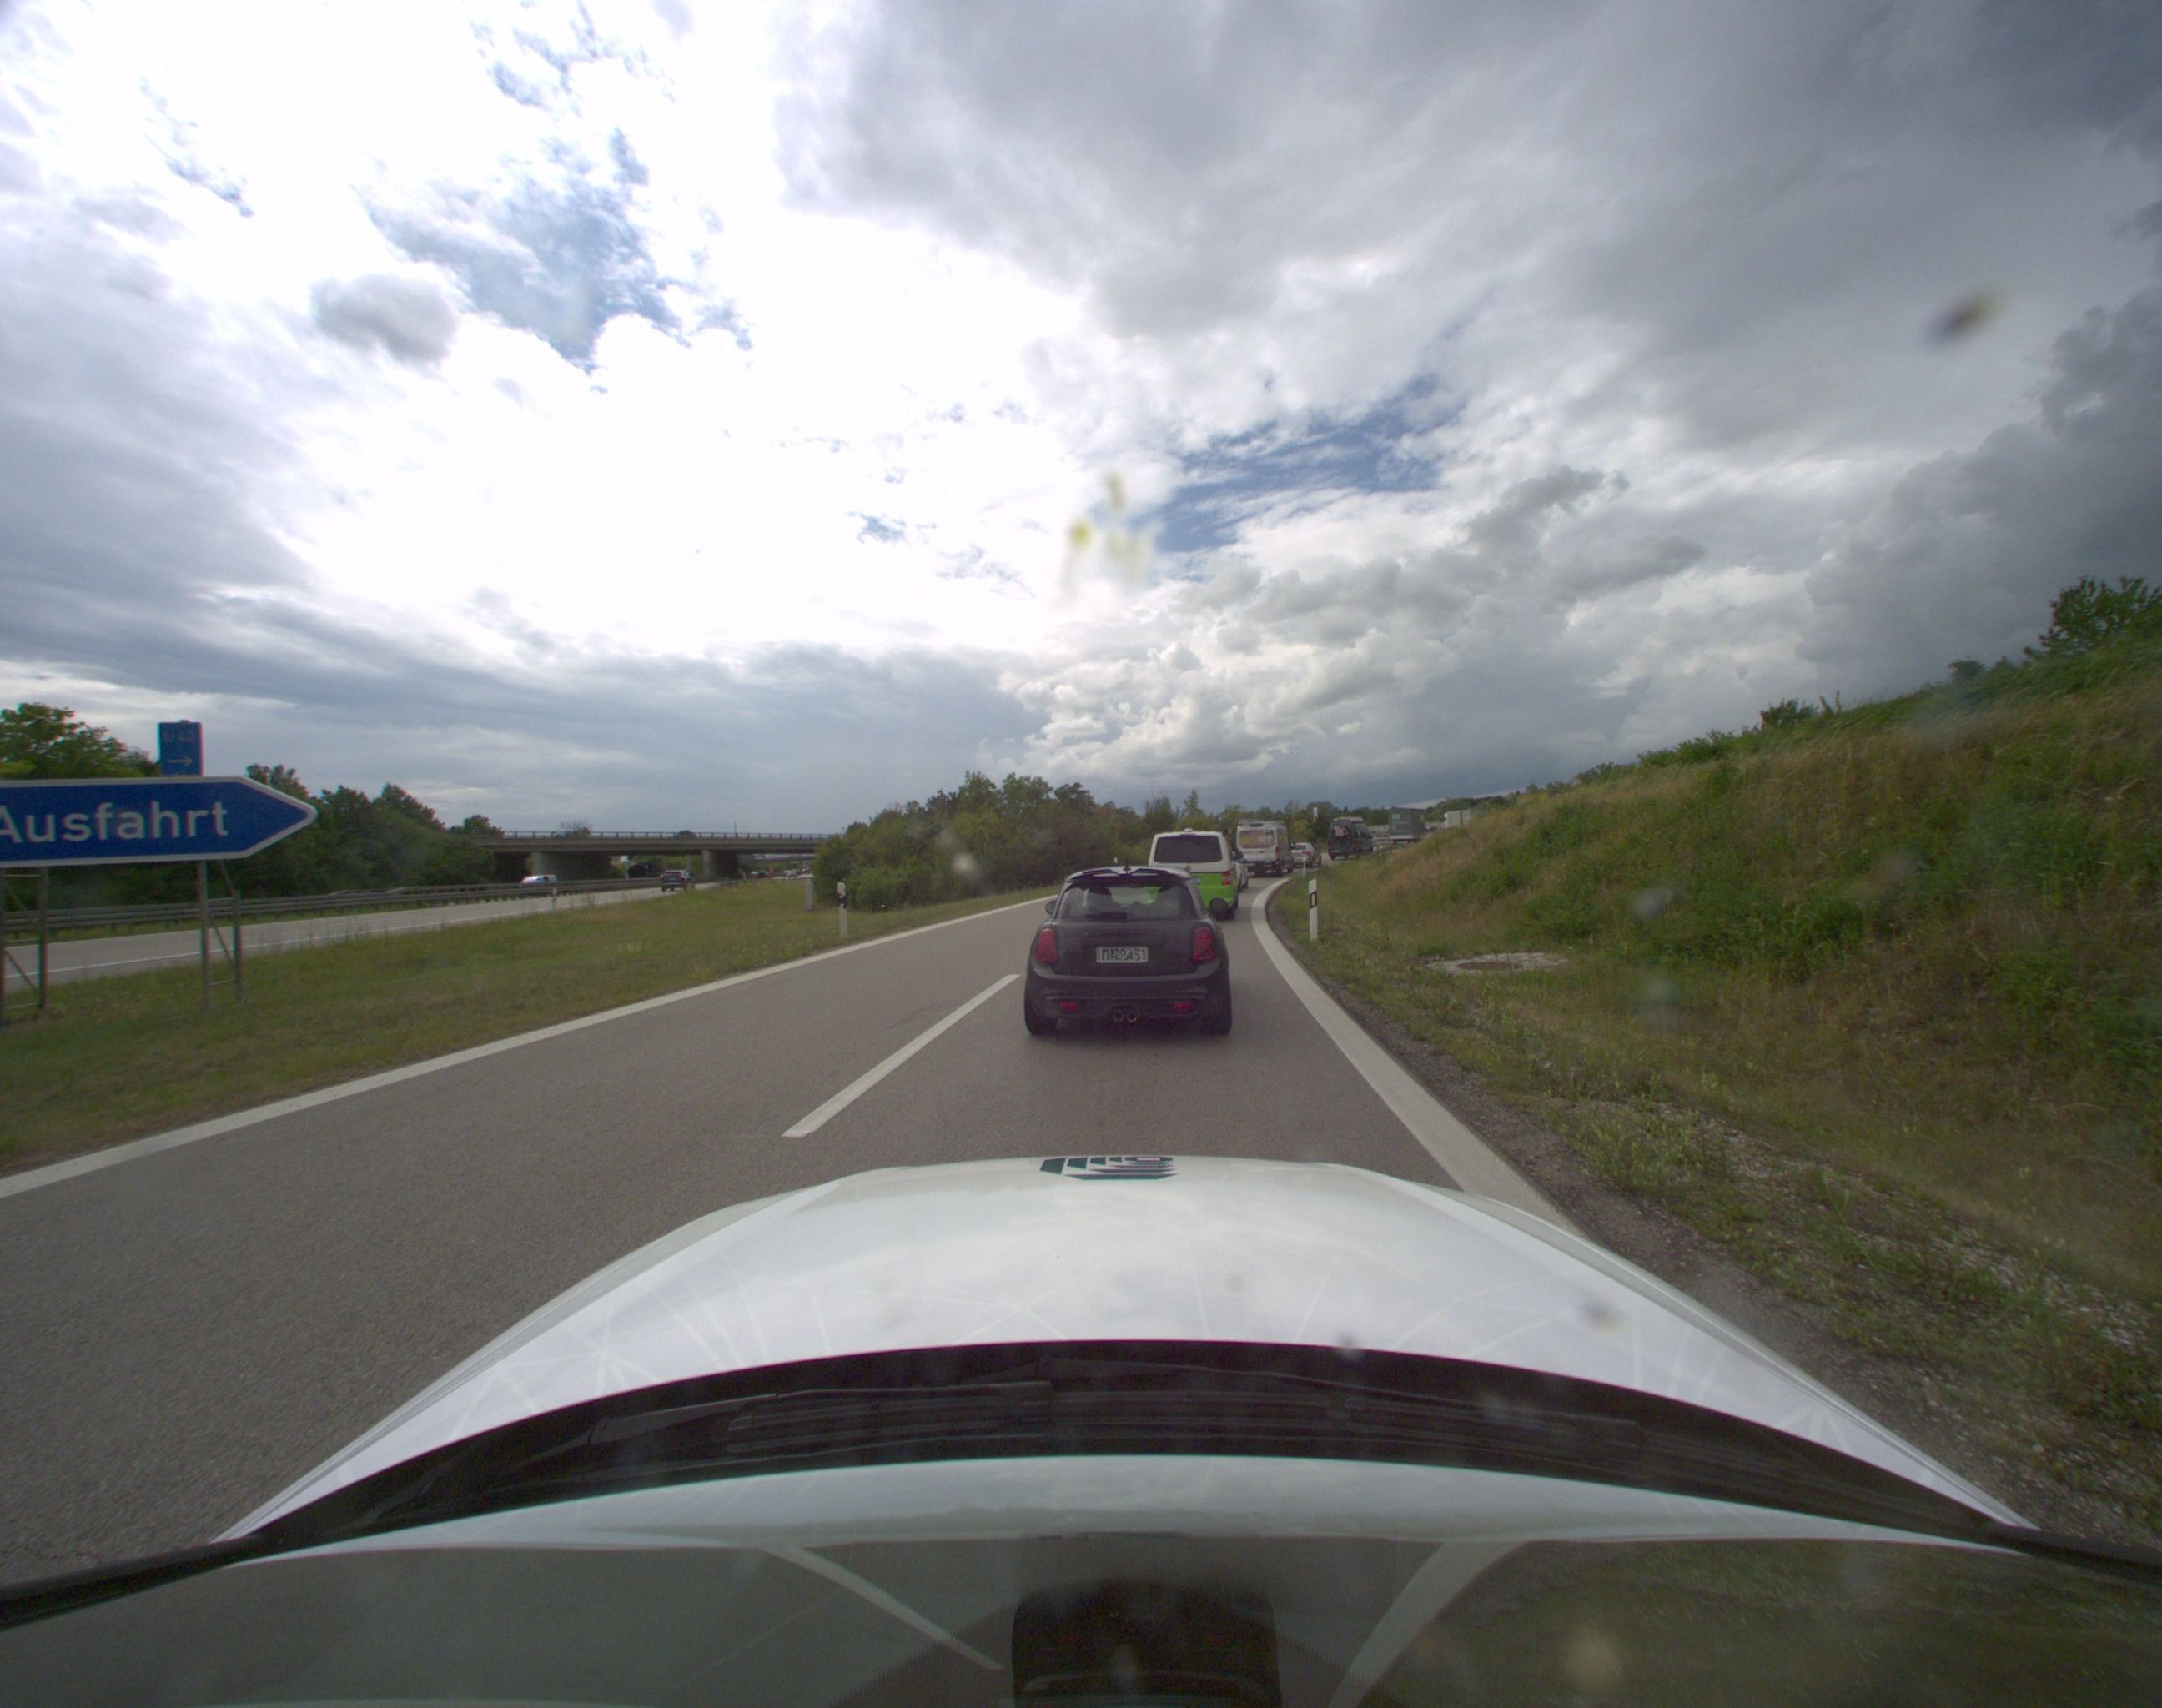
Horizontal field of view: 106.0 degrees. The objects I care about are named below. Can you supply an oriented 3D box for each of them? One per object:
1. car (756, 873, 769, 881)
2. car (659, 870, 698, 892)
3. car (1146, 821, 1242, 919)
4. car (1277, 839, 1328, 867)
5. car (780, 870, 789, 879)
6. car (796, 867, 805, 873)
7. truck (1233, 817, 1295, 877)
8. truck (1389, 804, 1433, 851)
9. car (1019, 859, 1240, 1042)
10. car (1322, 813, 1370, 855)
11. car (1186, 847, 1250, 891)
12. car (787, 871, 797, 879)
[{"bbox_3d":[-60.813,4.373,155.648,1.840,1.453,4.353,-2,-1,-17],"label":"car"},{"bbox_3d":[-34.727,2.304,70.415,1.997,1.761,4.899,-2,-1,-14],"label":"car"},{"bbox_3d":[2.720,0.350,18.872,1.771,2.014,4.015,-1,-1,14],"label":"car"},{"bbox_3d":[12.904,-0.060,47.314,1.848,1.510,4.025,-2,-1,30],"label":"car"},{"bbox_3d":[-72.532,5.053,199.297,1.999,2.014,3.974,0,-2,-19],"label":"car"},{"bbox_3d":[-78.792,4.506,228.873,1.997,1.743,4.803,-2,-1,-15],"label":"car"},{"bbox_3d":[8.912,-0.333,39.315,2.160,2.658,5.135,-2,0,20],"label":"truck"},{"bbox_3d":[30.342,-2.359,74.687,2.207,3.907,6.054,-2,-2,37],"label":"truck"},{"bbox_3d":[0.563,0.782,8.258,1.718,1.413,3.731,-1,-1,6],"label":"car"},{"bbox_3d":[18.472,-1.315,56.618,2.084,2.796,4.025,-1,-1,35],"label":"car"},{"bbox_3d":[4.901,0.507,28.761,1.749,1.399,3.741,-2,-1,16],"label":"car"},{"bbox_3d":[-61.723,4.493,174.122,1.721,1.519,3.977,-2,-1,-17],"label":"car"}]
